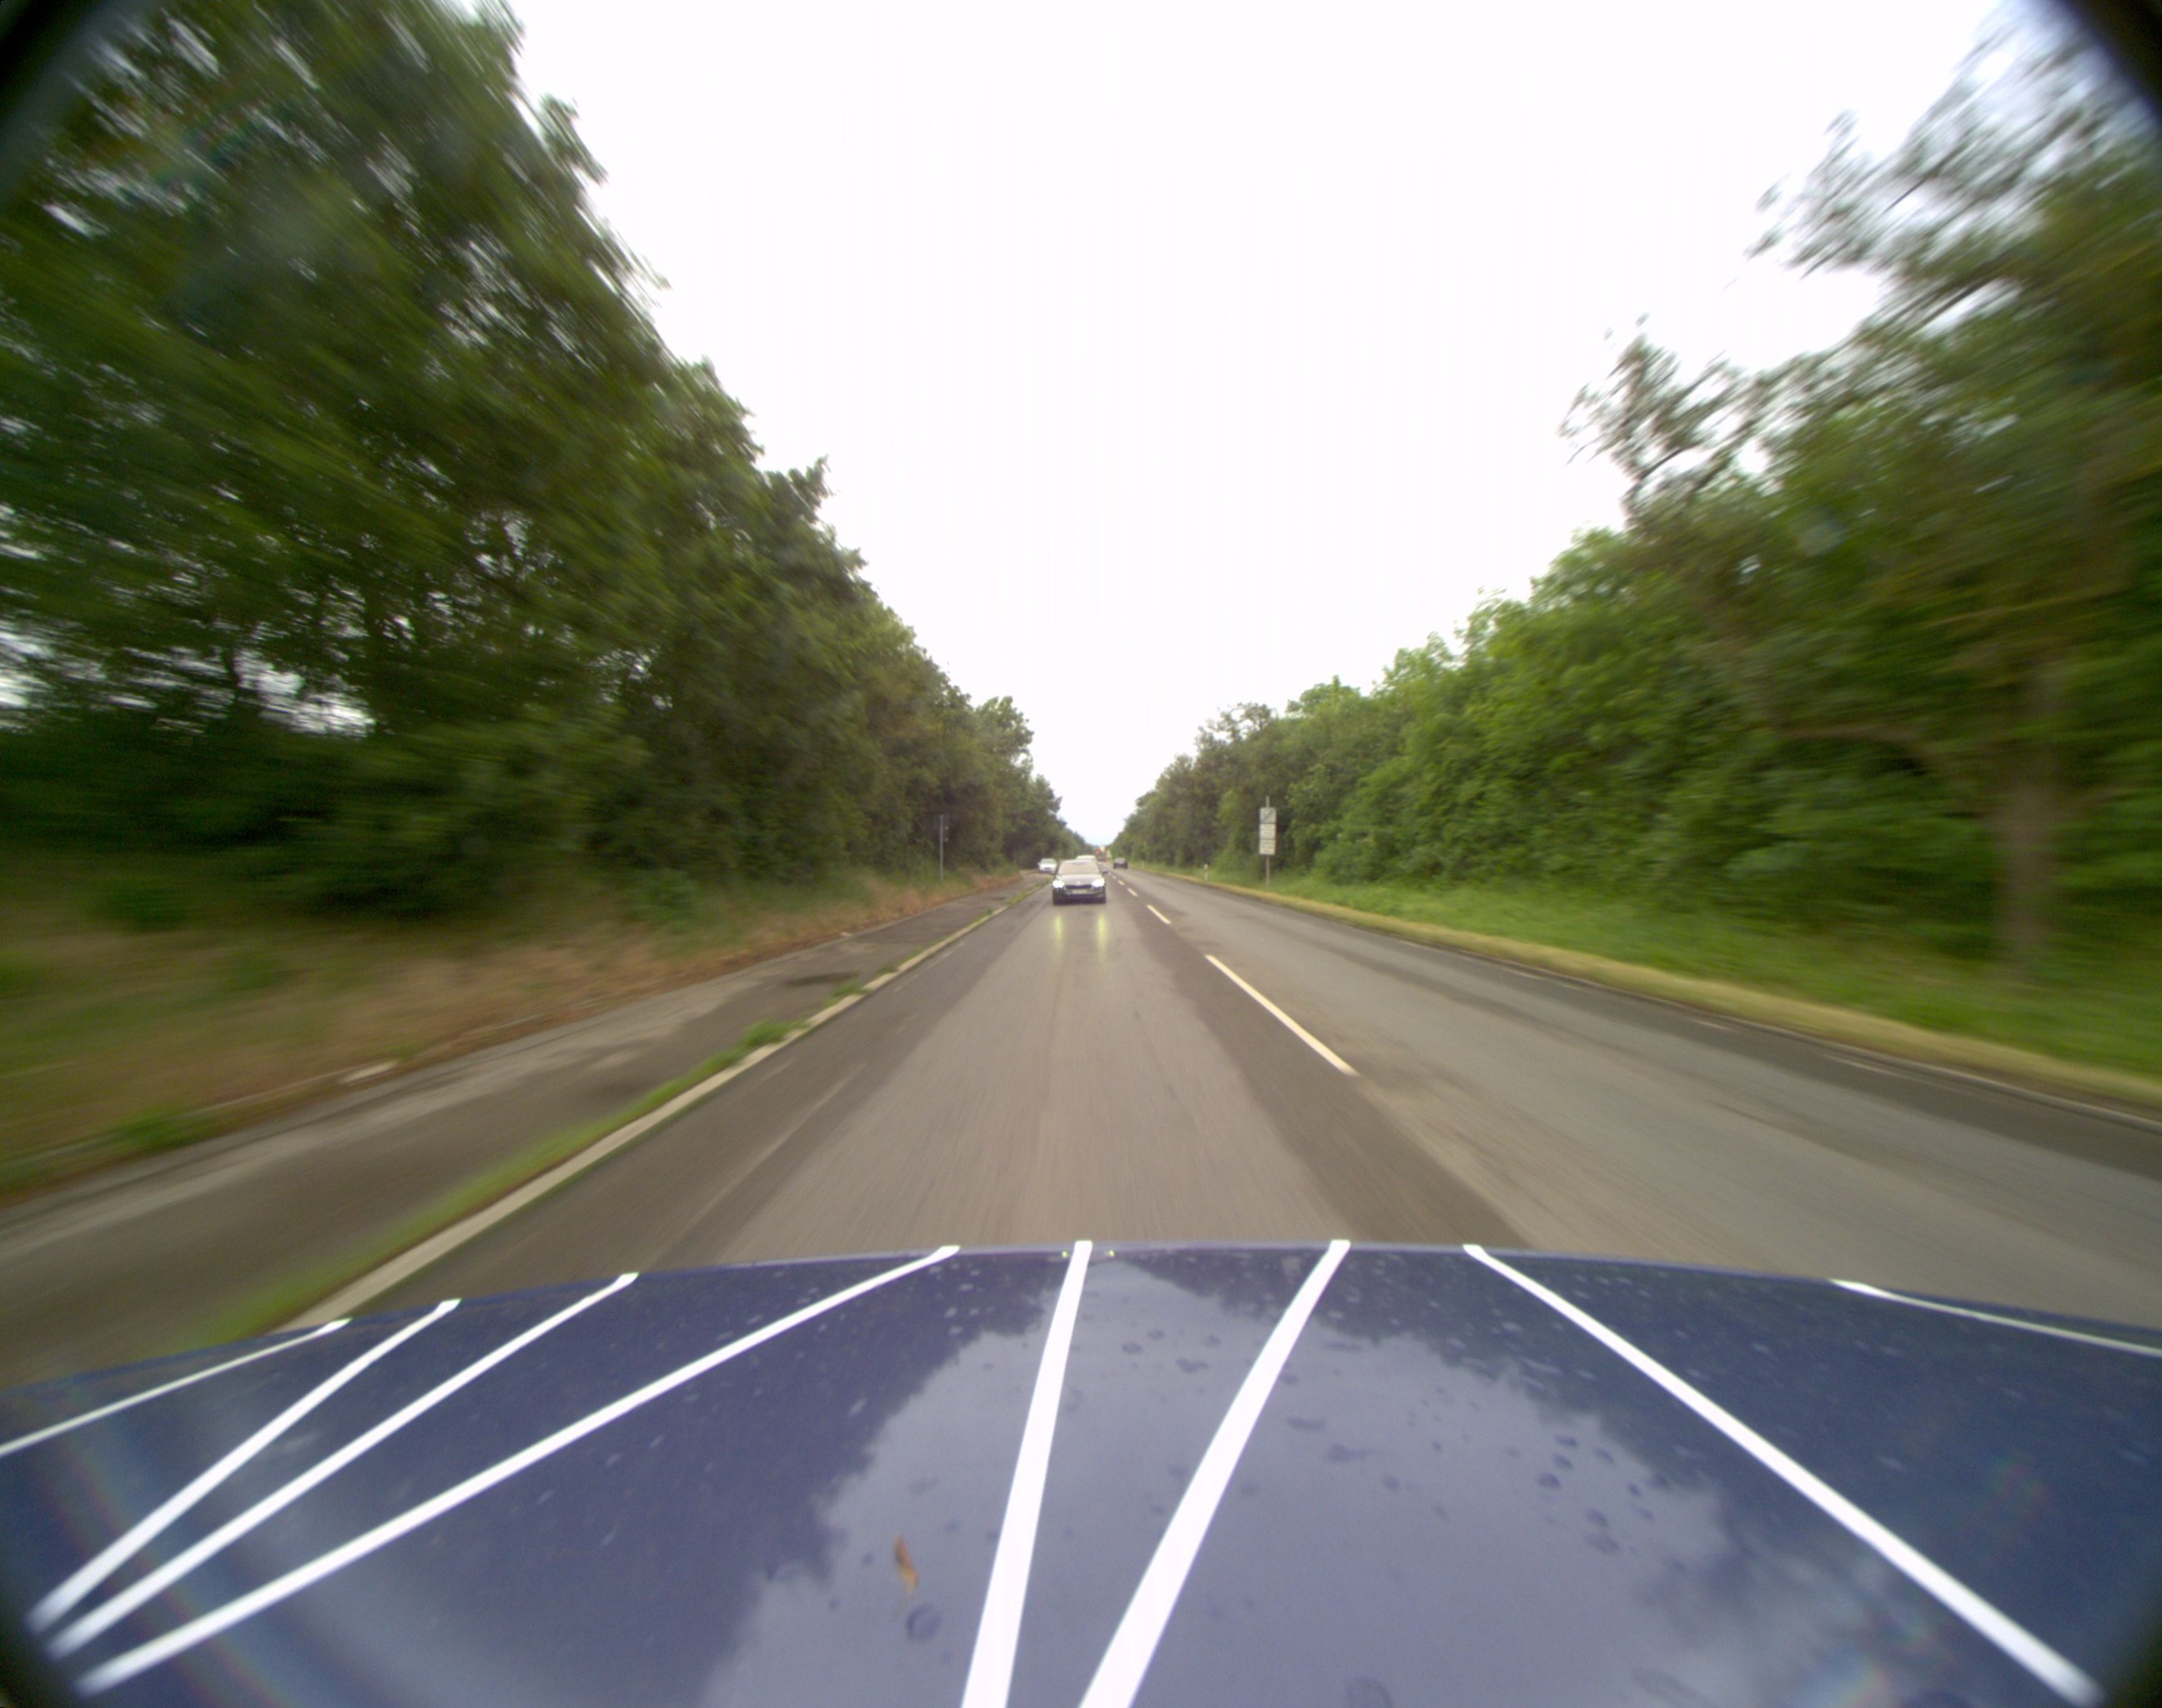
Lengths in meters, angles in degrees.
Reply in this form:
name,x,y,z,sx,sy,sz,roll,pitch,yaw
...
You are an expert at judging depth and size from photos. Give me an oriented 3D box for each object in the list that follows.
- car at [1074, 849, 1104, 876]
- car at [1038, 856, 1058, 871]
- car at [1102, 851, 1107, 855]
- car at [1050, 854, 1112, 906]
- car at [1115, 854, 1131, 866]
name,x,y,z,sx,sy,sz,roll,pitch,yaw
car,0.558,0.528,52.107,1.915,1.690,3.913,-3,1,1
car,-3.313,0.924,76.234,1.749,1.460,4.220,1,1,1
car,8.044,-0.300,258.123,1.793,1.465,3.623,1,1,1
car,0.023,0.832,26.570,1.915,1.543,4.354,-3,1,1
car,5.669,0.771,103.469,1.876,1.480,4.574,2,1,1
